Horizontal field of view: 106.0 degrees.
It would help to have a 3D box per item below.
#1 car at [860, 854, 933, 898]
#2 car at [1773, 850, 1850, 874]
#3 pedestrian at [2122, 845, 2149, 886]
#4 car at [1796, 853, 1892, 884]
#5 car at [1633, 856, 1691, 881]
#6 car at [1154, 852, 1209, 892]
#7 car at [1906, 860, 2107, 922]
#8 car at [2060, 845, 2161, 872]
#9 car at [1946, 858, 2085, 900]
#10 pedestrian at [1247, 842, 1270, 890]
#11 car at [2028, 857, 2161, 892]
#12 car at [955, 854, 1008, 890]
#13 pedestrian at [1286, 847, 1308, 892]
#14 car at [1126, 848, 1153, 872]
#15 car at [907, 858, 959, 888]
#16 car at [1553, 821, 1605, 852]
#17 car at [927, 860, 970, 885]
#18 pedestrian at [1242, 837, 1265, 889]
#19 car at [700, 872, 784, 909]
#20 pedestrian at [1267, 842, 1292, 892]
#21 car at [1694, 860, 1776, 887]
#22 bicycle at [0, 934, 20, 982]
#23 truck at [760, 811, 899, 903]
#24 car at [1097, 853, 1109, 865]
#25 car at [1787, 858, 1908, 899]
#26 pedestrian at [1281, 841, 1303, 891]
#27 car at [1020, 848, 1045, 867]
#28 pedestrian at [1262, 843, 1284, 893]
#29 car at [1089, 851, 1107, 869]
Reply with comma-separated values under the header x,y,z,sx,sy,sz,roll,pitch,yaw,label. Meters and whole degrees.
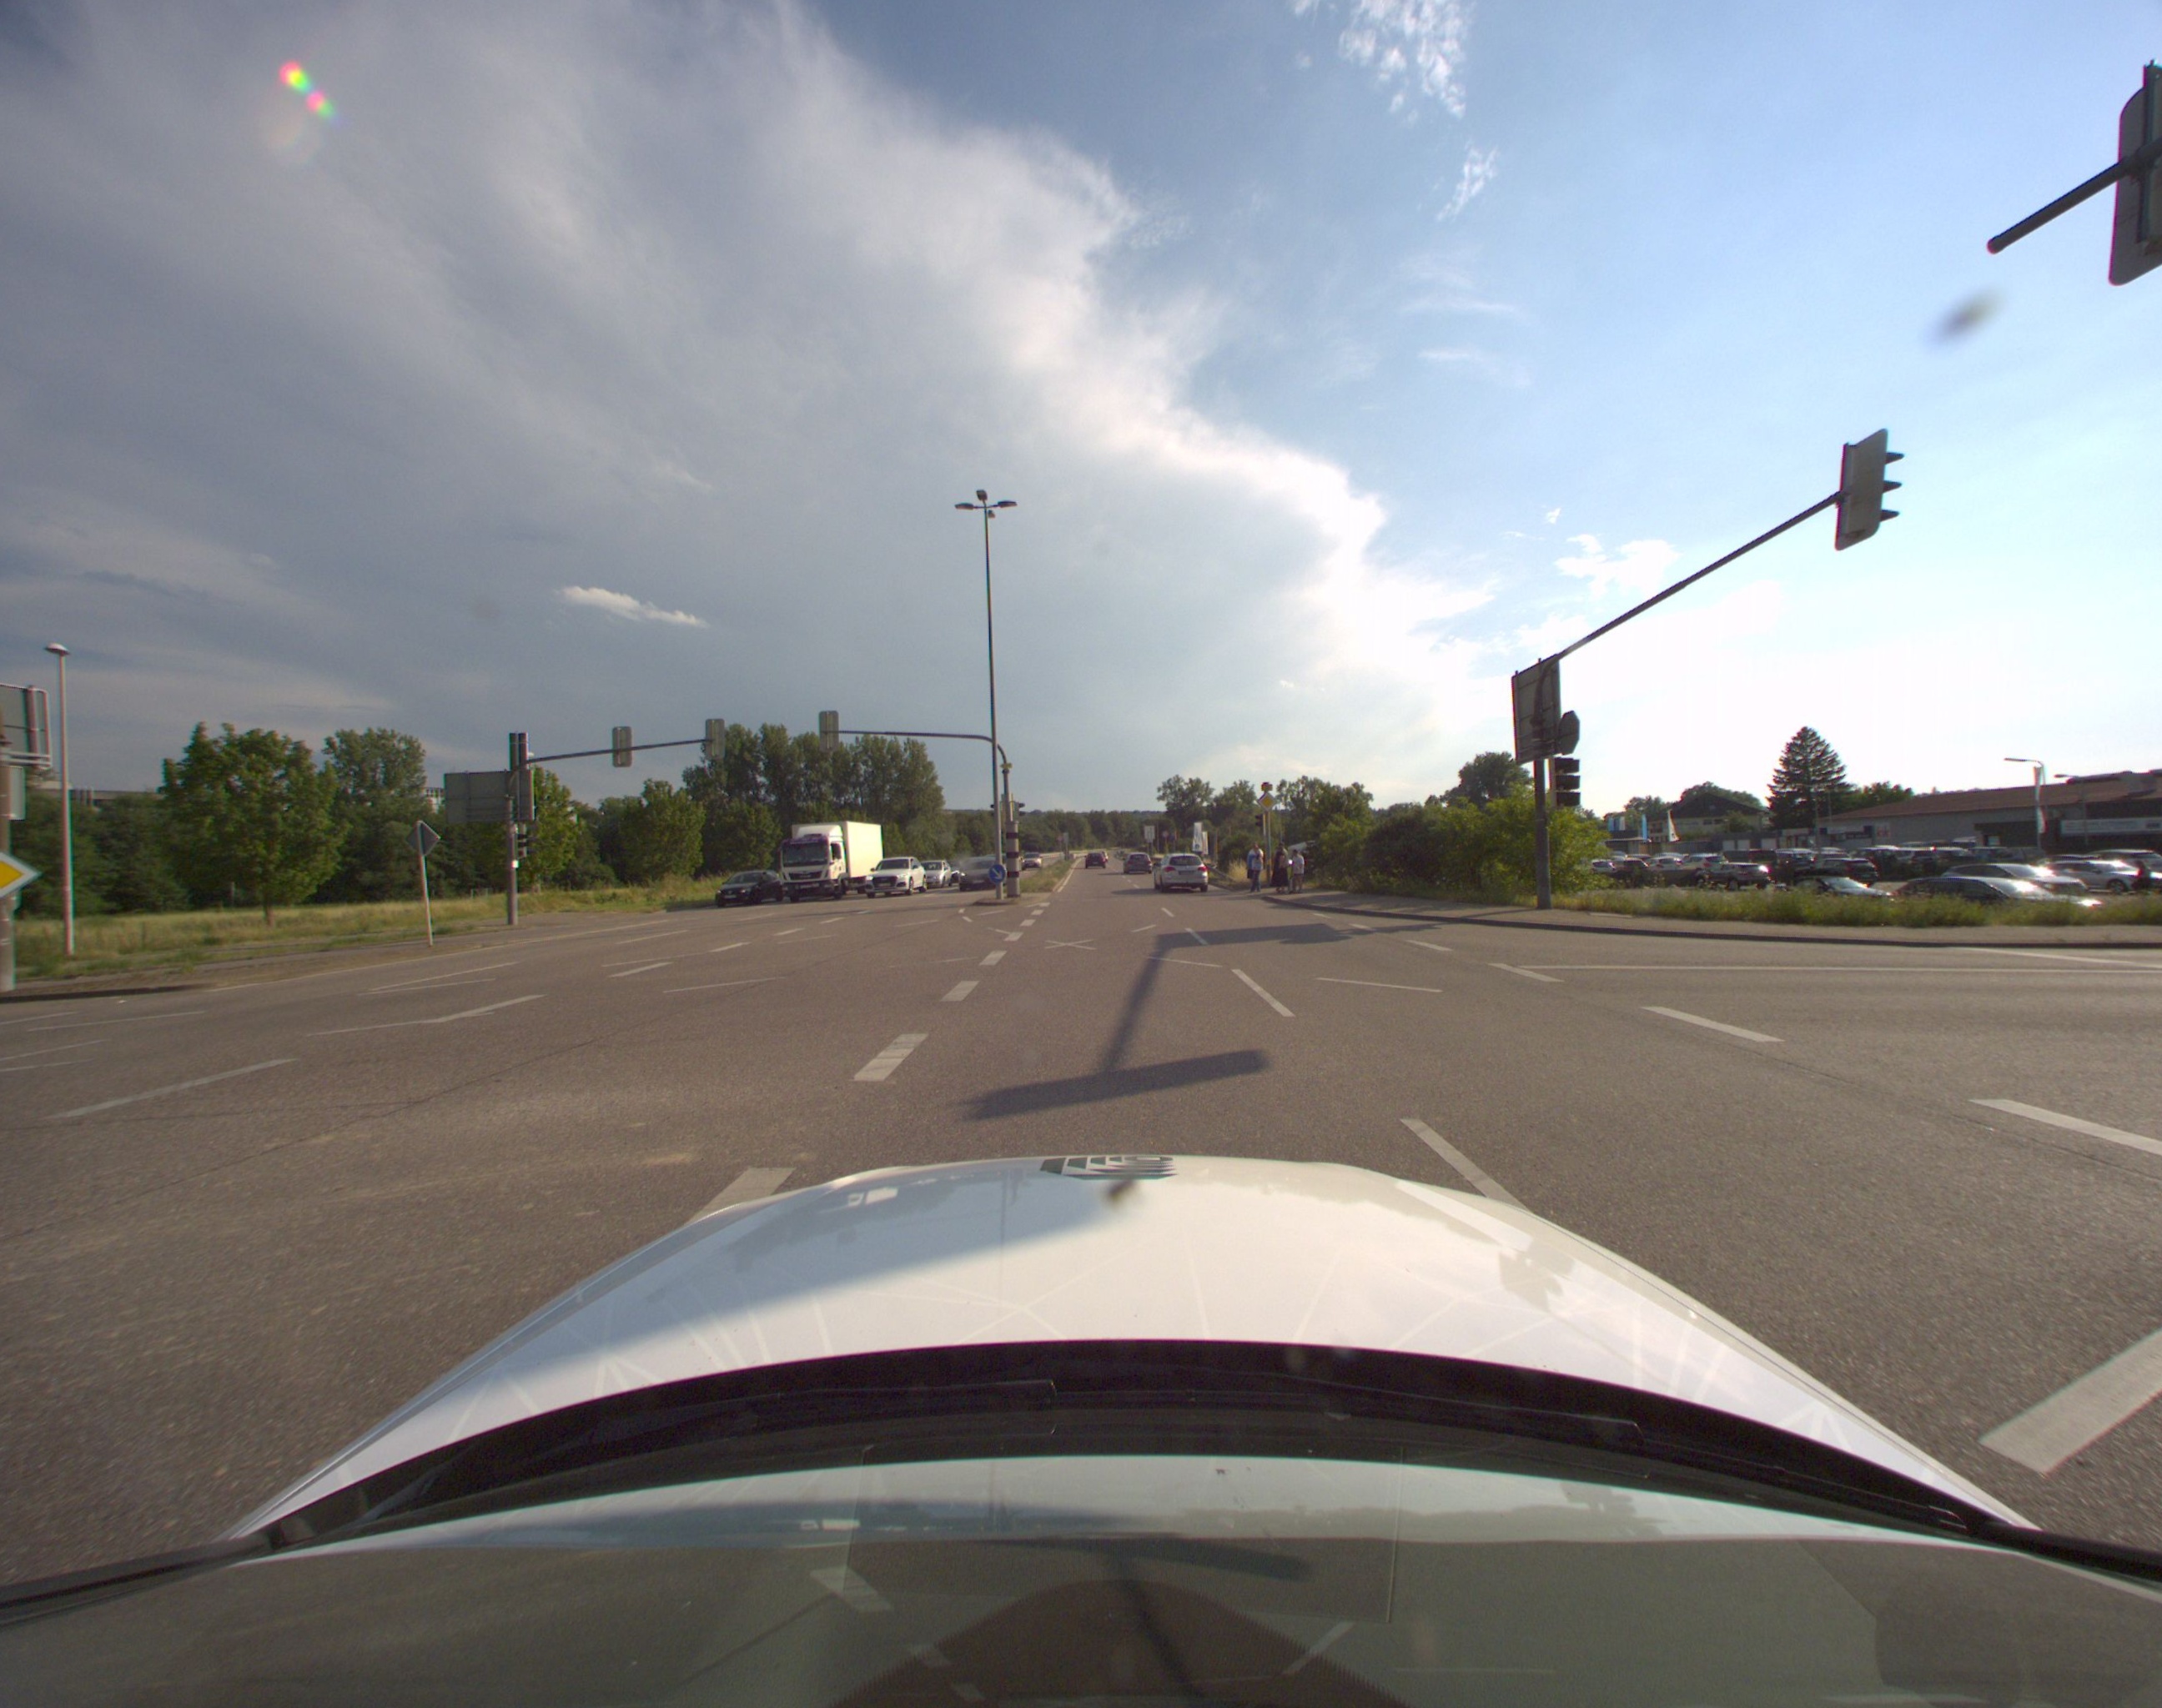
x,y,z,sx,sy,sz,roll,pitch,yaw,label
-7.975,0.933,35.656,1.987,1.678,4.806,-3,-1,0,car
48.411,0.546,54.097,1.717,1.508,4.005,0,-1,4,car
38.661,0.419,29.874,0.375,1.459,0.571,-1,-1,27,pedestrian
45.656,0.835,48.849,1.826,1.702,4.129,-3,-1,0,car
39.244,0.950,55.102,1.604,1.624,3.351,0,-1,3,car
3.893,0.687,32.205,1.802,1.486,4.001,0,-1,2,car
26.212,0.996,23.277,1.586,1.629,3.760,0,-1,3,car
60.510,0.276,47.658,1.719,1.508,4.001,0,-1,1,car
38.845,1.005,33.980,1.586,1.629,3.760,0,-1,3,car
6.433,0.443,29.554,0.592,1.683,0.633,-4,-1,0,pedestrian
47.237,0.929,37.606,1.894,1.507,4.539,0,-1,4,car
-4.461,0.800,37.134,1.785,1.466,4.927,-2,-1,-1,car
7.189,0.513,27.119,0.570,1.457,0.622,0,-1,-4,pedestrian
3.938,0.416,55.247,1.660,1.574,4.002,0,-1,2,car
-7.663,0.971,42.679,1.696,1.405,5.081,-3,-1,0,car
44.698,-1.543,73.204,1.747,2.549,5.476,0,-1,5,car
-8.062,1.100,49.930,1.696,1.283,4.818,-3,0,0,car
6.416,0.324,30.306,0.616,1.883,0.861,-3,-1,0,pedestrian
-14.594,1.524,35.318,1.807,1.376,4.002,-4,-1,2,car
6.573,0.426,26.994,0.570,1.615,0.622,-3,-1,-4,pedestrian
39.007,1.140,48.688,1.719,1.508,4.001,0,-1,1,car
-25.683,2.415,18.434,0.700,1.039,1.947,-1,-1,44,bicycle
-11.695,0.190,39.308,2.922,3.690,10.503,-4,-1,2,truck
2.819,0.607,103.561,1.487,1.476,3.360,0,-1,2,car
31.684,0.981,33.817,1.586,1.629,3.760,0,-1,3,car
7.207,0.406,27.830,0.570,1.678,0.622,0,-1,-4,pedestrian
-4.065,0.317,68.570,1.774,1.520,4.000,-3,-1,1,car
6.543,0.473,27.757,0.570,1.678,0.622,0,-1,-4,pedestrian
1.487,0.544,70.879,1.487,1.476,3.360,0,-1,2,car
